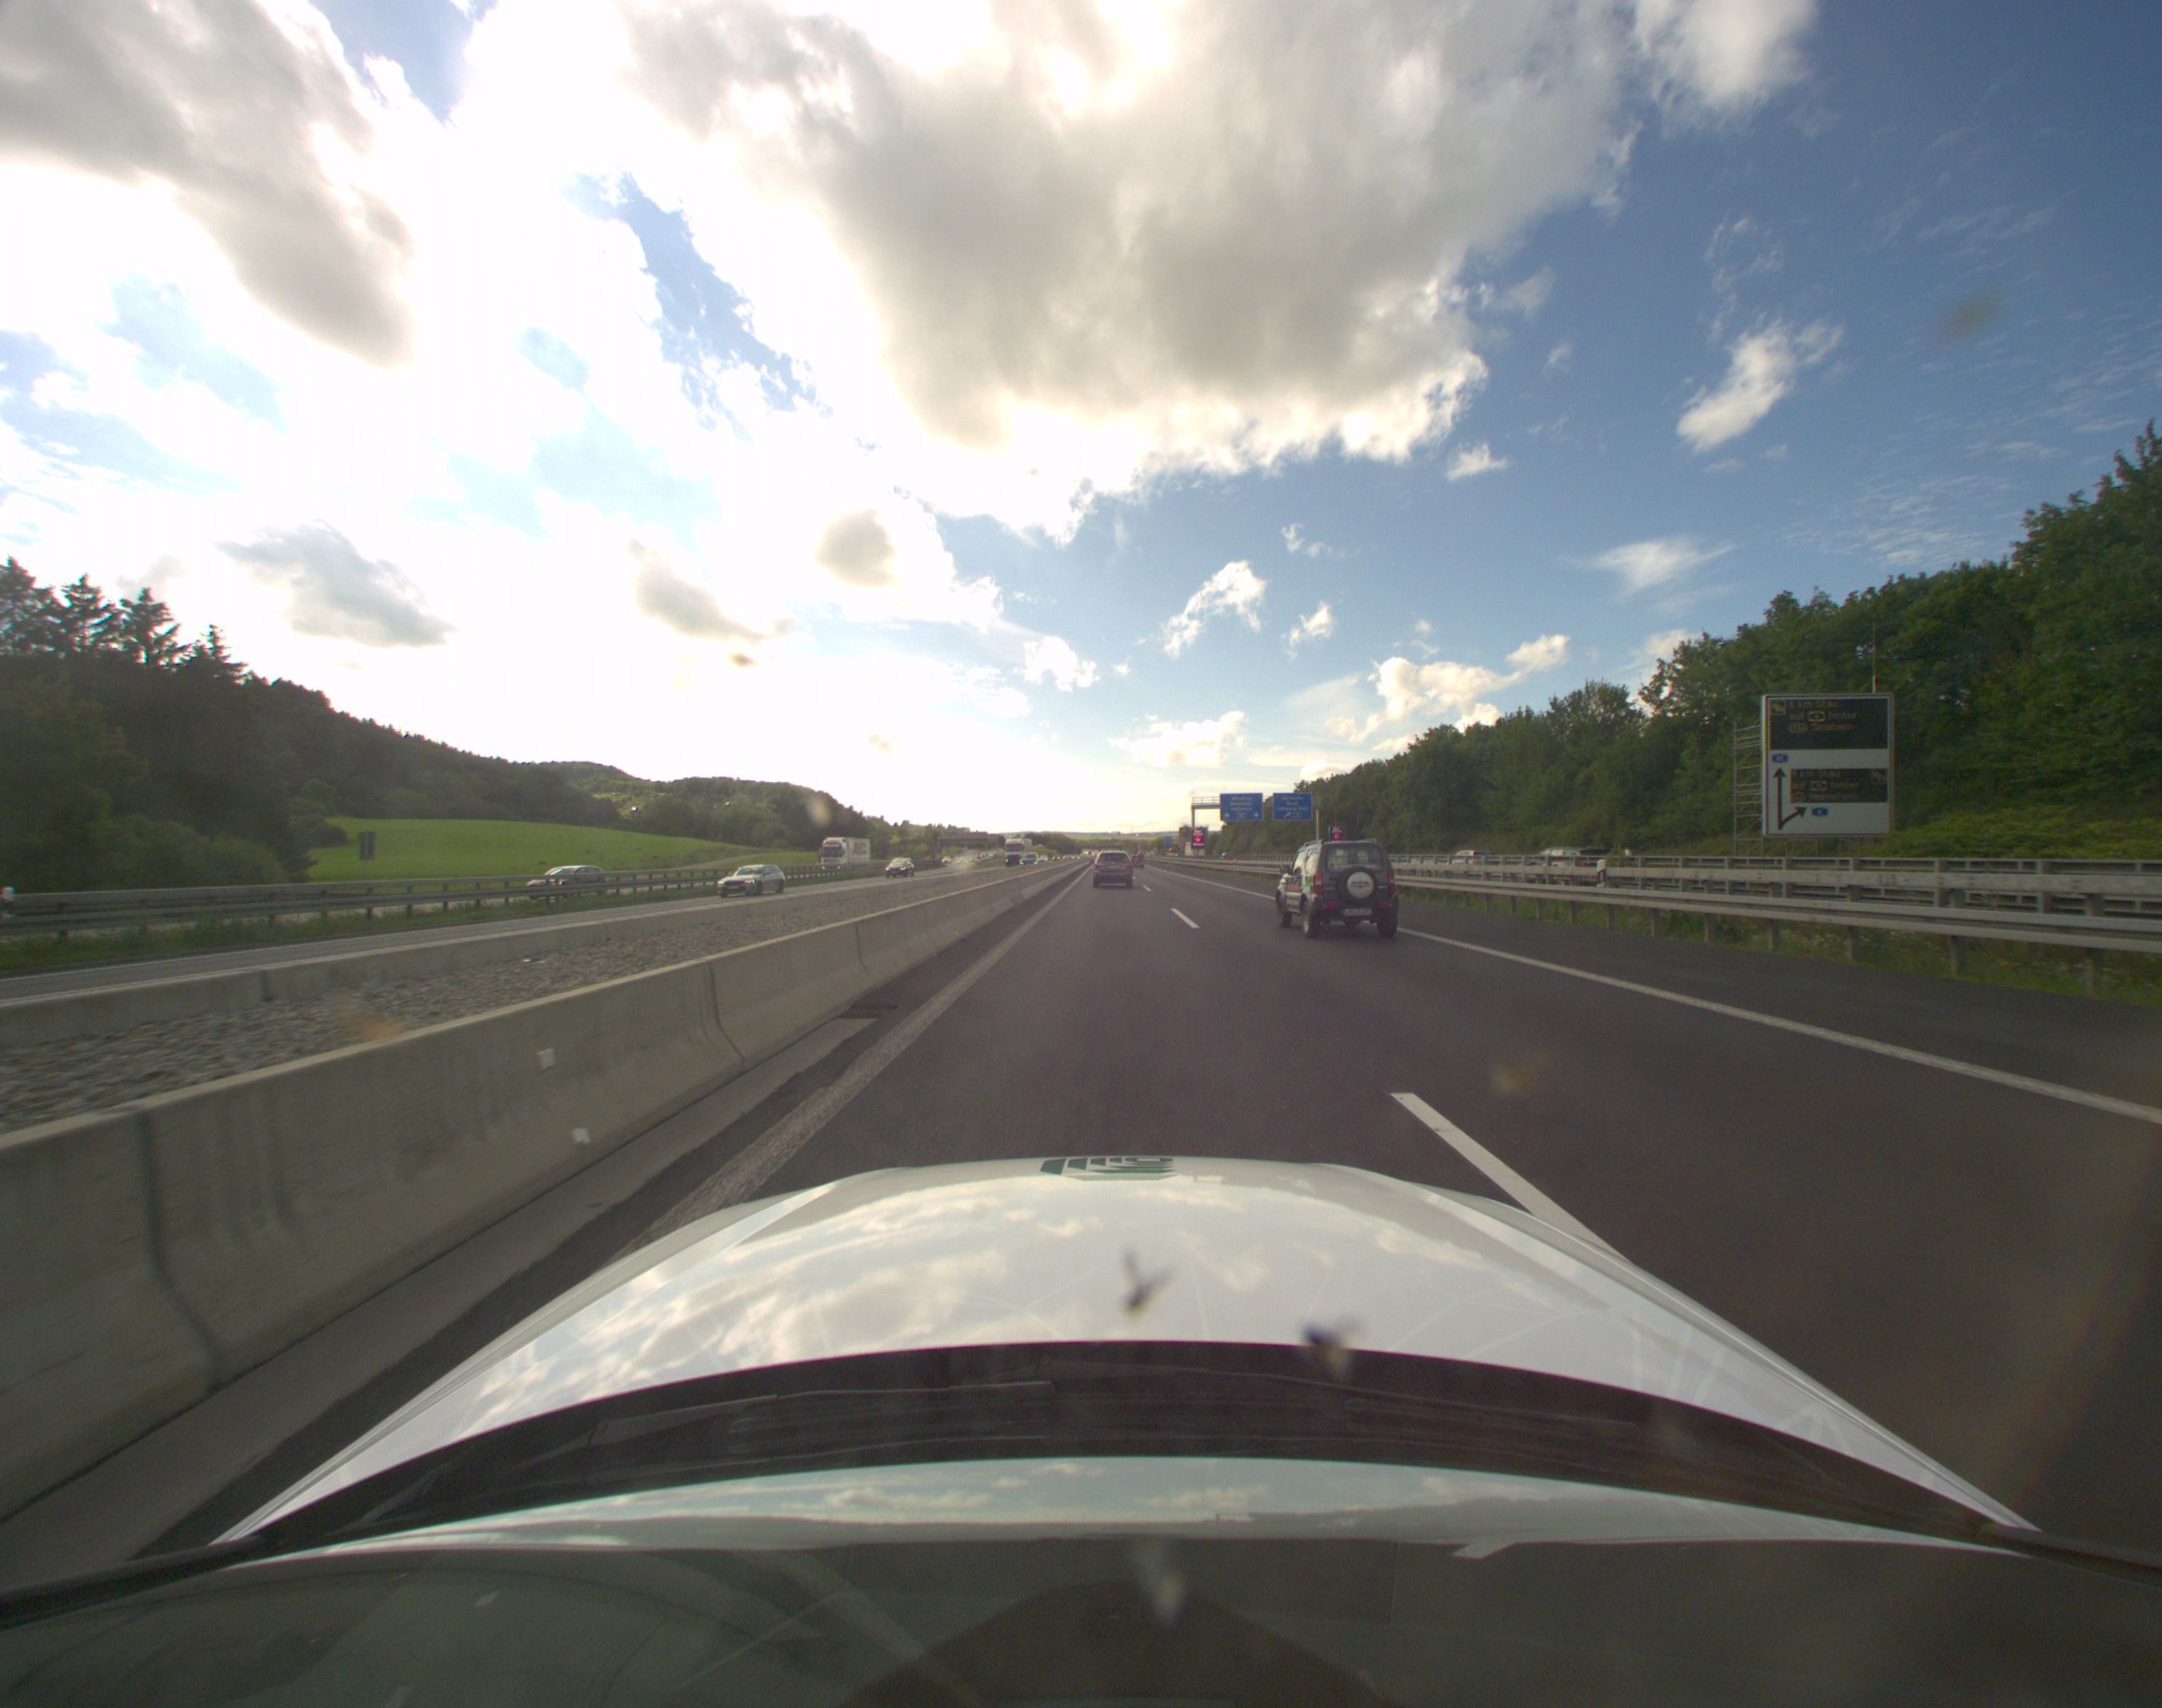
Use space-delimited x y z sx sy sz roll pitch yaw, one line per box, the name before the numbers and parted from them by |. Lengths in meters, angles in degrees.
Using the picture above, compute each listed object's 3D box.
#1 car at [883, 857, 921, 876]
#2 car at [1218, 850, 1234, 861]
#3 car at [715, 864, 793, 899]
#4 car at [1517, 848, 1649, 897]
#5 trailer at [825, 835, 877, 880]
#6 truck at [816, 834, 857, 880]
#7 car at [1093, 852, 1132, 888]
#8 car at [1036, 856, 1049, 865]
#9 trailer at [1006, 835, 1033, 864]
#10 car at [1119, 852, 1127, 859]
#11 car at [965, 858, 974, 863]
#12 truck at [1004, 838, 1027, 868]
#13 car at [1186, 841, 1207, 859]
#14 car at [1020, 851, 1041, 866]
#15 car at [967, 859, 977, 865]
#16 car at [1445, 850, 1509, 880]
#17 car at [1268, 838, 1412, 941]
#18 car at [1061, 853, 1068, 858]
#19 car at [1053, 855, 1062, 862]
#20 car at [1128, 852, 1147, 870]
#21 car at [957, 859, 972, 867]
car | -15.497 1.072 70.609 1.935 1.494 5.308 -1 0 2
car | 22.545 0.210 126.768 1.986 1.717 4.001 -1 0 2
car | -15.768 1.279 39.564 1.639 1.494 4.998 -1 0 2
car | 16.533 0.576 27.098 1.987 1.484 4.000 0 0 1
trailer | -28.914 0.443 103.164 3.101 5.160 14.701 -1 0 -3
truck | -28.584 0.317 95.669 3.019 5.142 6.621 -1 0 -3
car | 1.518 0.734 38.664 1.742 1.630 3.611 -1 0 3
car | -7.648 1.298 161.881 1.986 1.618 5.004 -1 0 2
trailer | -9.044 -0.601 120.835 2.479 4.129 13.288 -1 0 2
car | 11.778 0.442 227.228 1.968 1.779 4.121 -1 0 1
car | -33.531 2.003 244.728 1.794 1.618 4.303 -1 0 2
truck | -9.225 -0.106 115.267 2.479 4.129 5.301 -1 0 2
car | 24.551 -0.837 173.569 3.563 3.677 7.551 -1 0 2
car | -5.489 0.514 89.151 1.840 1.494 4.974 -1 0 2
car | -27.552 2.110 206.456 1.935 1.494 4.129 -1 0 2
car | 24.004 0.643 49.541 1.986 1.708 4.001 -1 0 2
car | 4.839 0.608 15.814 1.659 1.732 4.210 0 0 3
car | -4.940 0.601 249.443 1.986 1.456 4.182 -1 0 2
car | -5.904 1.203 205.837 1.794 1.618 4.303 -1 0 2
car | 6.773 0.852 98.042 1.986 2.081 4.001 -1 0 2
car | -21.199 1.595 148.475 1.935 1.494 4.129 -1 0 2
